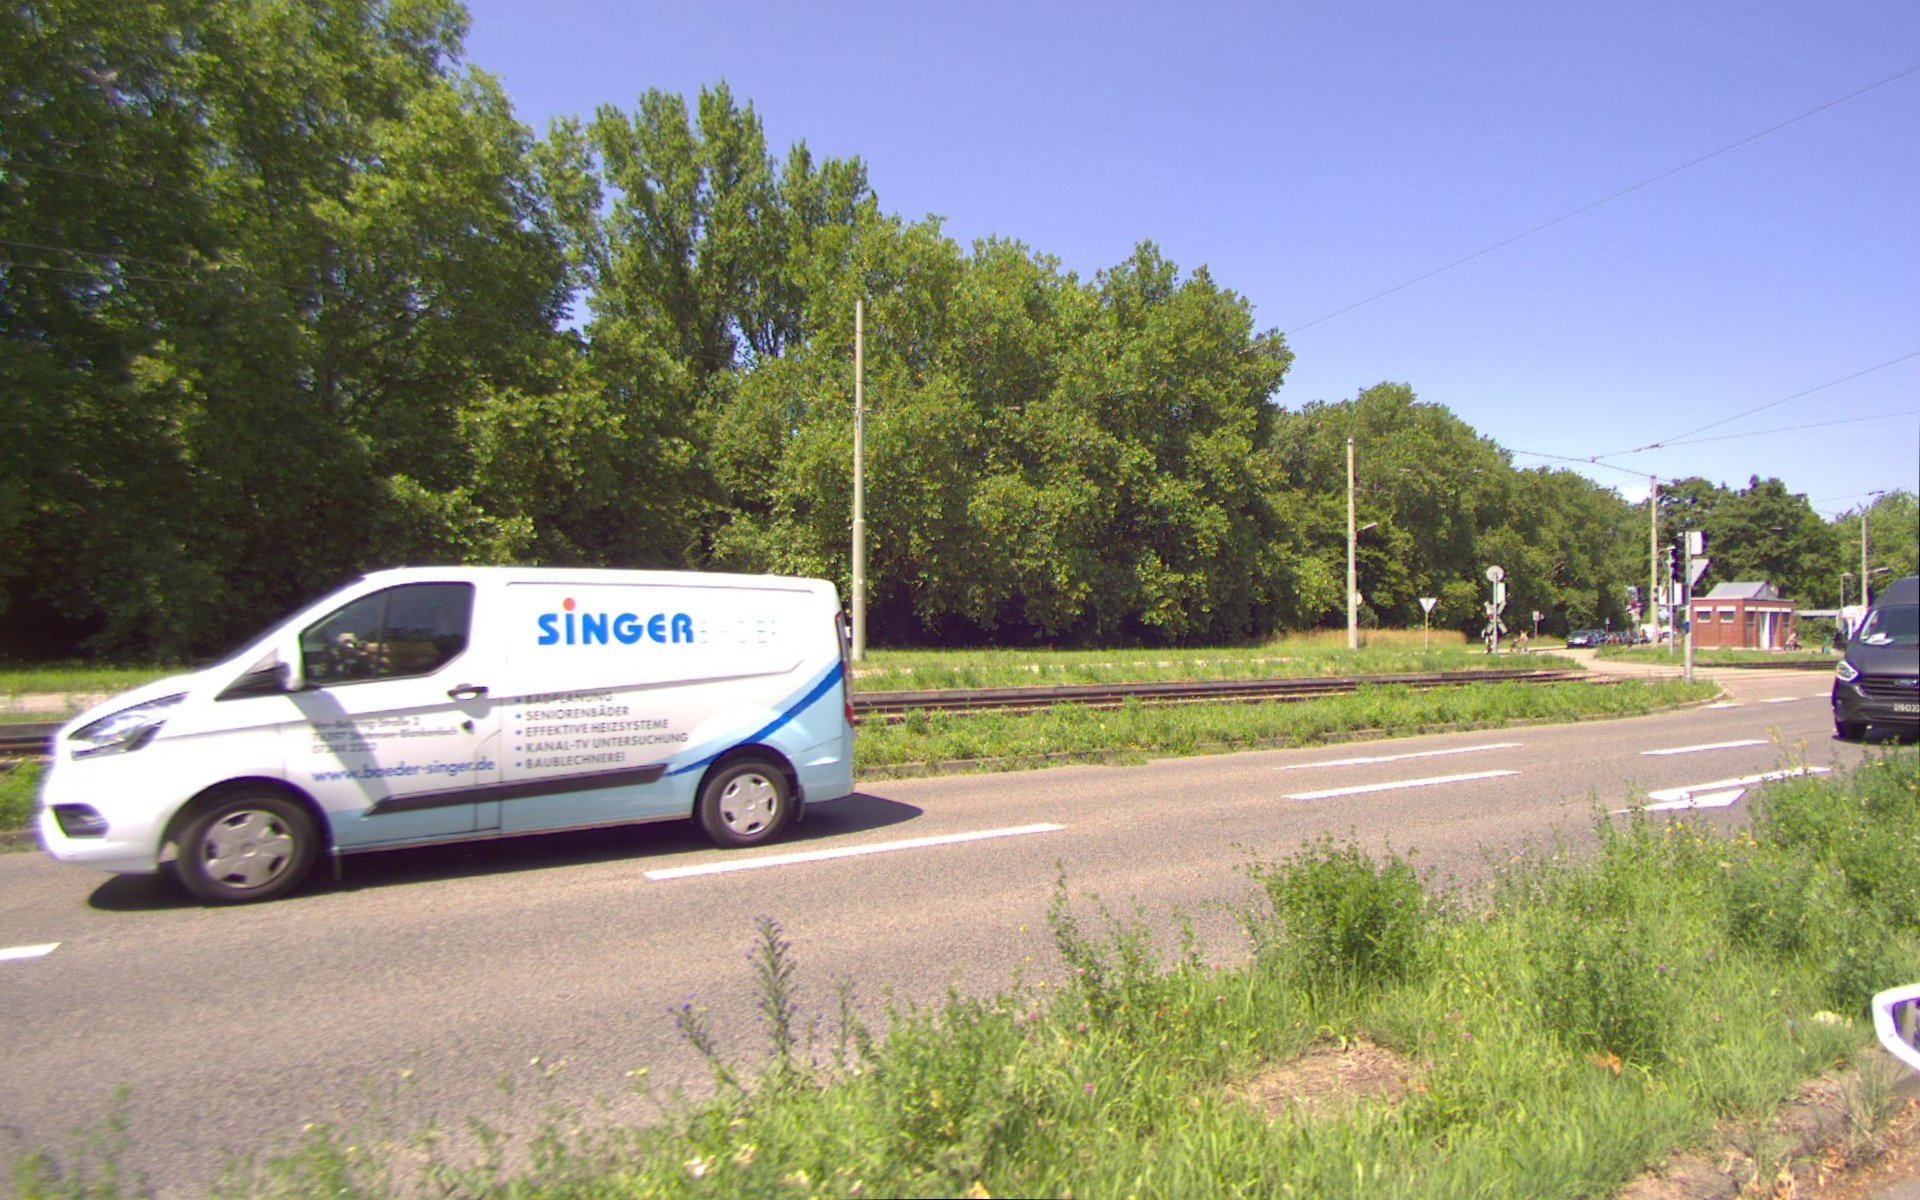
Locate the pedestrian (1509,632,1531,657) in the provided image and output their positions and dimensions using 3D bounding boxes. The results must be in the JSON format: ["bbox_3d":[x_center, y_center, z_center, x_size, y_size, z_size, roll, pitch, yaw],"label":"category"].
[{"bbox_3d":[38.906,3.071,69.796,1.245,1.724,0.518,1,-1,12],"label":"pedestrian"}]

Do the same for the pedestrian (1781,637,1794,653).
[{"bbox_3d":[54.217,2.964,65.818,0.516,1.032,0.479,1,-1,-31],"label":"pedestrian"}]

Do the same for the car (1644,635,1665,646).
[{"bbox_3d":[104.047,6.070,150.458,1.972,1.486,3.978,0,-2,43],"label":"car"}]

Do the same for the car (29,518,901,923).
[{"bbox_3d":[-3.077,0.680,7.241,4.974,2.040,1.983,1,-3,-32],"label":"car"}]

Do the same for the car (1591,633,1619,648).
[{"bbox_3d":[67.982,4.275,105.876,1.970,1.486,3.982,0,-2,40],"label":"car"}]

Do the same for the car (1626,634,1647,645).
[{"bbox_3d":[90.747,5.278,134.754,1.970,1.486,3.982,0,-2,40],"label":"car"}]

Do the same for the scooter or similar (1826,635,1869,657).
[{"bbox_3d":[47.291,2.464,53.540,1.639,1.142,0.613,1,-1,12],"label":"scooter or similar"}]

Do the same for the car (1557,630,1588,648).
[{"bbox_3d":[53.757,3.428,88.145,1.968,1.486,3.985,0,-1,37],"label":"car"}]

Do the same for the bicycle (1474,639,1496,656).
[{"bbox_3d":[28.791,2.603,55.105,1.552,0.913,0.504,2,-1,-39],"label":"bicycle"}]

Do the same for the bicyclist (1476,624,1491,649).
[{"bbox_3d":[28.706,1.996,55.055,0.674,1.353,0.504,2,-1,-38],"label":"bicyclist"}]

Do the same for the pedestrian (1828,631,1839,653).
[{"bbox_3d":[57.993,2.759,66.680,0.520,1.455,0.458,1,-1,-35],"label":"pedestrian"}]

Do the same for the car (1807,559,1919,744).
[{"bbox_3d":[14.652,0.727,14.625,5.313,2.397,1.983,1,-2,-32],"label":"car"}]

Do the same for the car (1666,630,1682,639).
[{"bbox_3d":[133.093,6.410,187.166,1.972,1.486,3.978,0,-2,43],"label":"car"}]
